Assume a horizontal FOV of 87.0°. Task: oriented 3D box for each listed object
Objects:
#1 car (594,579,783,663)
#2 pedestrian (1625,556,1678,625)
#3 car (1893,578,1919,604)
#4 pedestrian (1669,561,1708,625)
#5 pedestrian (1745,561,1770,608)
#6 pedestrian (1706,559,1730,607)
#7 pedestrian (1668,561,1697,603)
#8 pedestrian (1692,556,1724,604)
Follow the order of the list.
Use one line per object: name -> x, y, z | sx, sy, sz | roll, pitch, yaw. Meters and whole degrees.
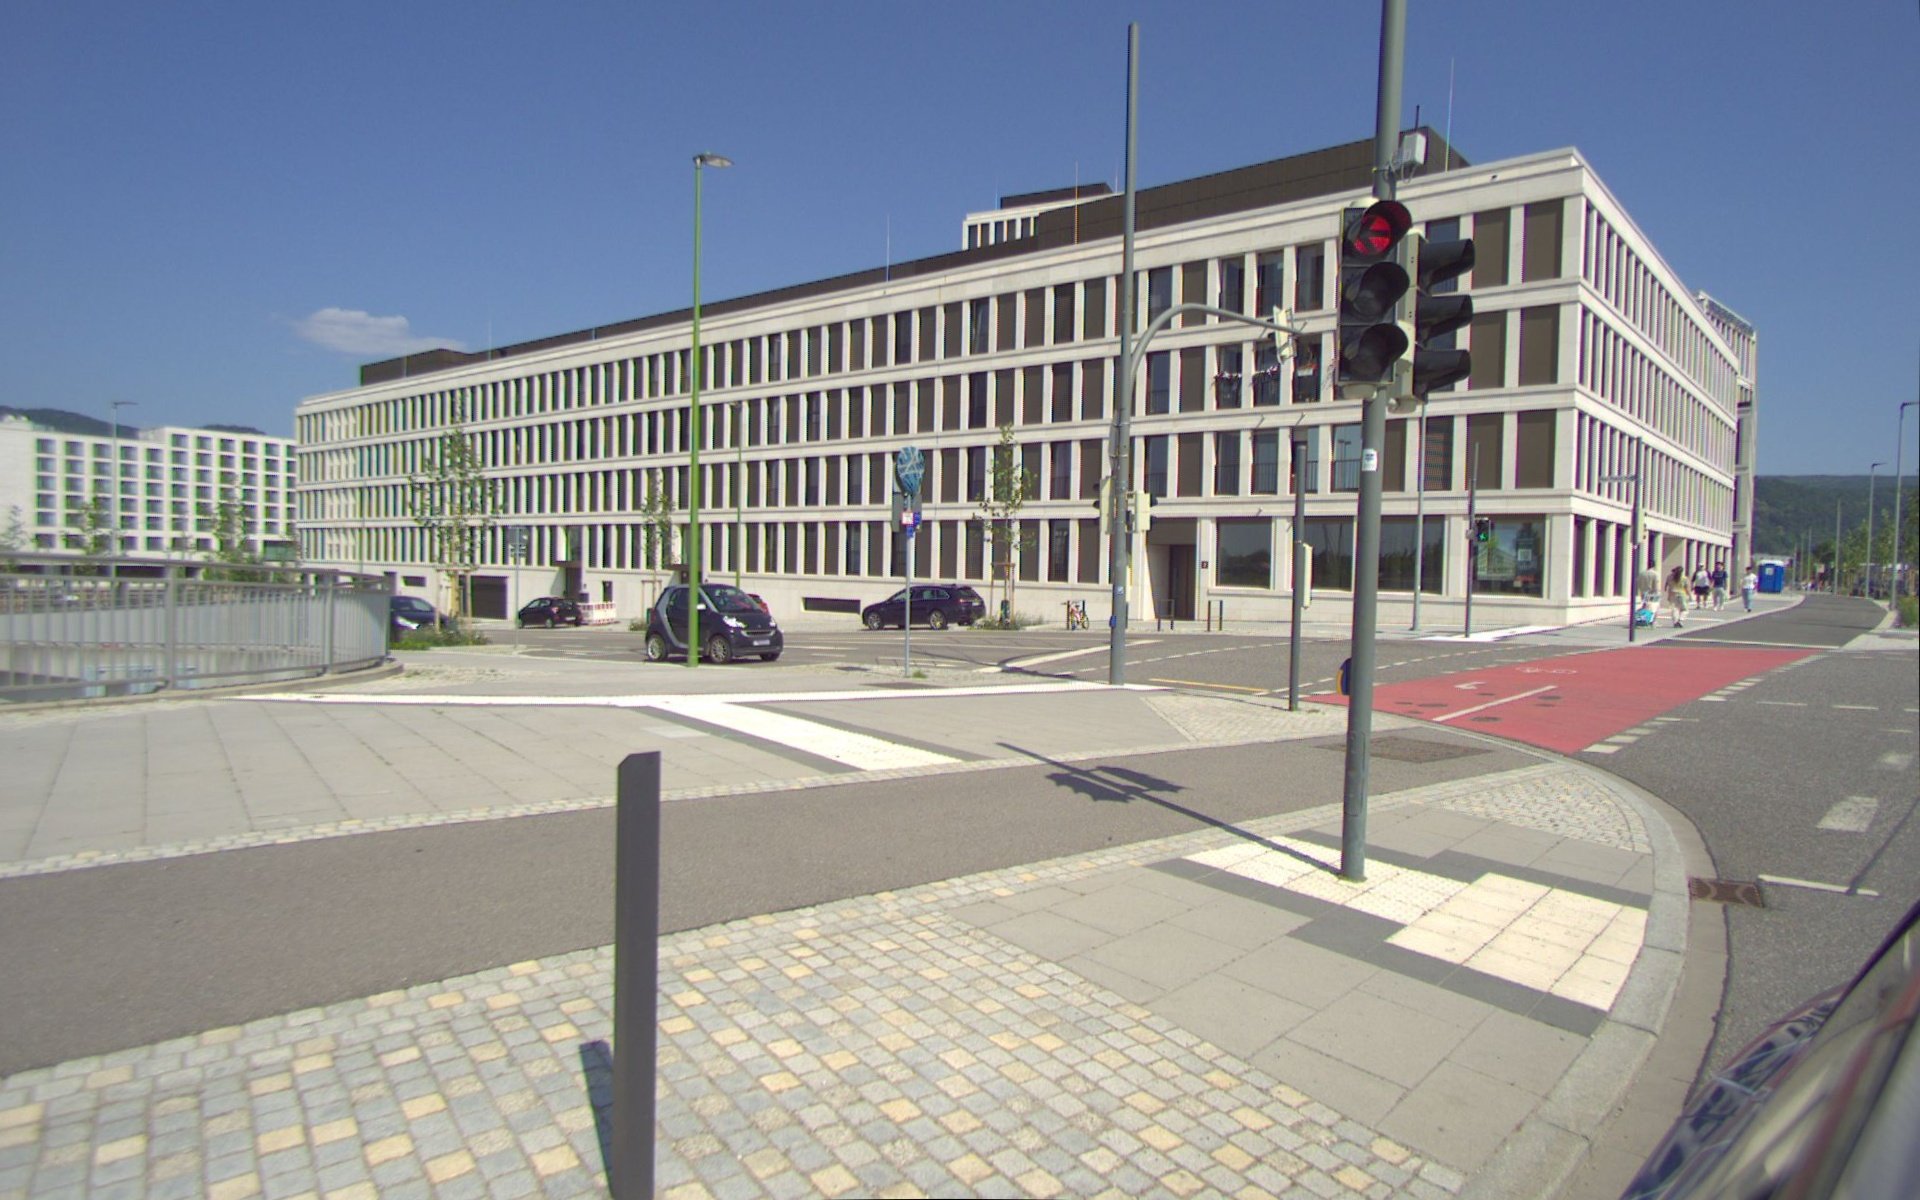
car -> -5.217, 0.377, 19.720 | 3.303, 1.482, 1.460 | -1, 1, -1
pedestrian -> 19.061, -0.289, 27.901 | 1.638, 1.849, 0.878 | -2, 3, -45
car -> 59.678, -0.582, 63.324 | 1.806, 1.527, 3.937 | 0, 1, 44
pedestrian -> 20.404, -0.217, 28.338 | 0.783, 1.744, 0.700 | -2, 4, -45
pedestrian -> 30.498, -0.589, 38.692 | 0.577, 1.740, 0.981 | 5, 5, 44
pedestrian -> 28.791, -0.653, 38.445 | 0.577, 1.761, 0.981 | 2, 4, 44
pedestrian -> 28.159, -0.719, 39.453 | 0.768, 1.585, 0.829 | 3, 3, 44
pedestrian -> 28.976, -0.782, 39.212 | 0.824, 1.805, 0.912 | 3, 3, 44
